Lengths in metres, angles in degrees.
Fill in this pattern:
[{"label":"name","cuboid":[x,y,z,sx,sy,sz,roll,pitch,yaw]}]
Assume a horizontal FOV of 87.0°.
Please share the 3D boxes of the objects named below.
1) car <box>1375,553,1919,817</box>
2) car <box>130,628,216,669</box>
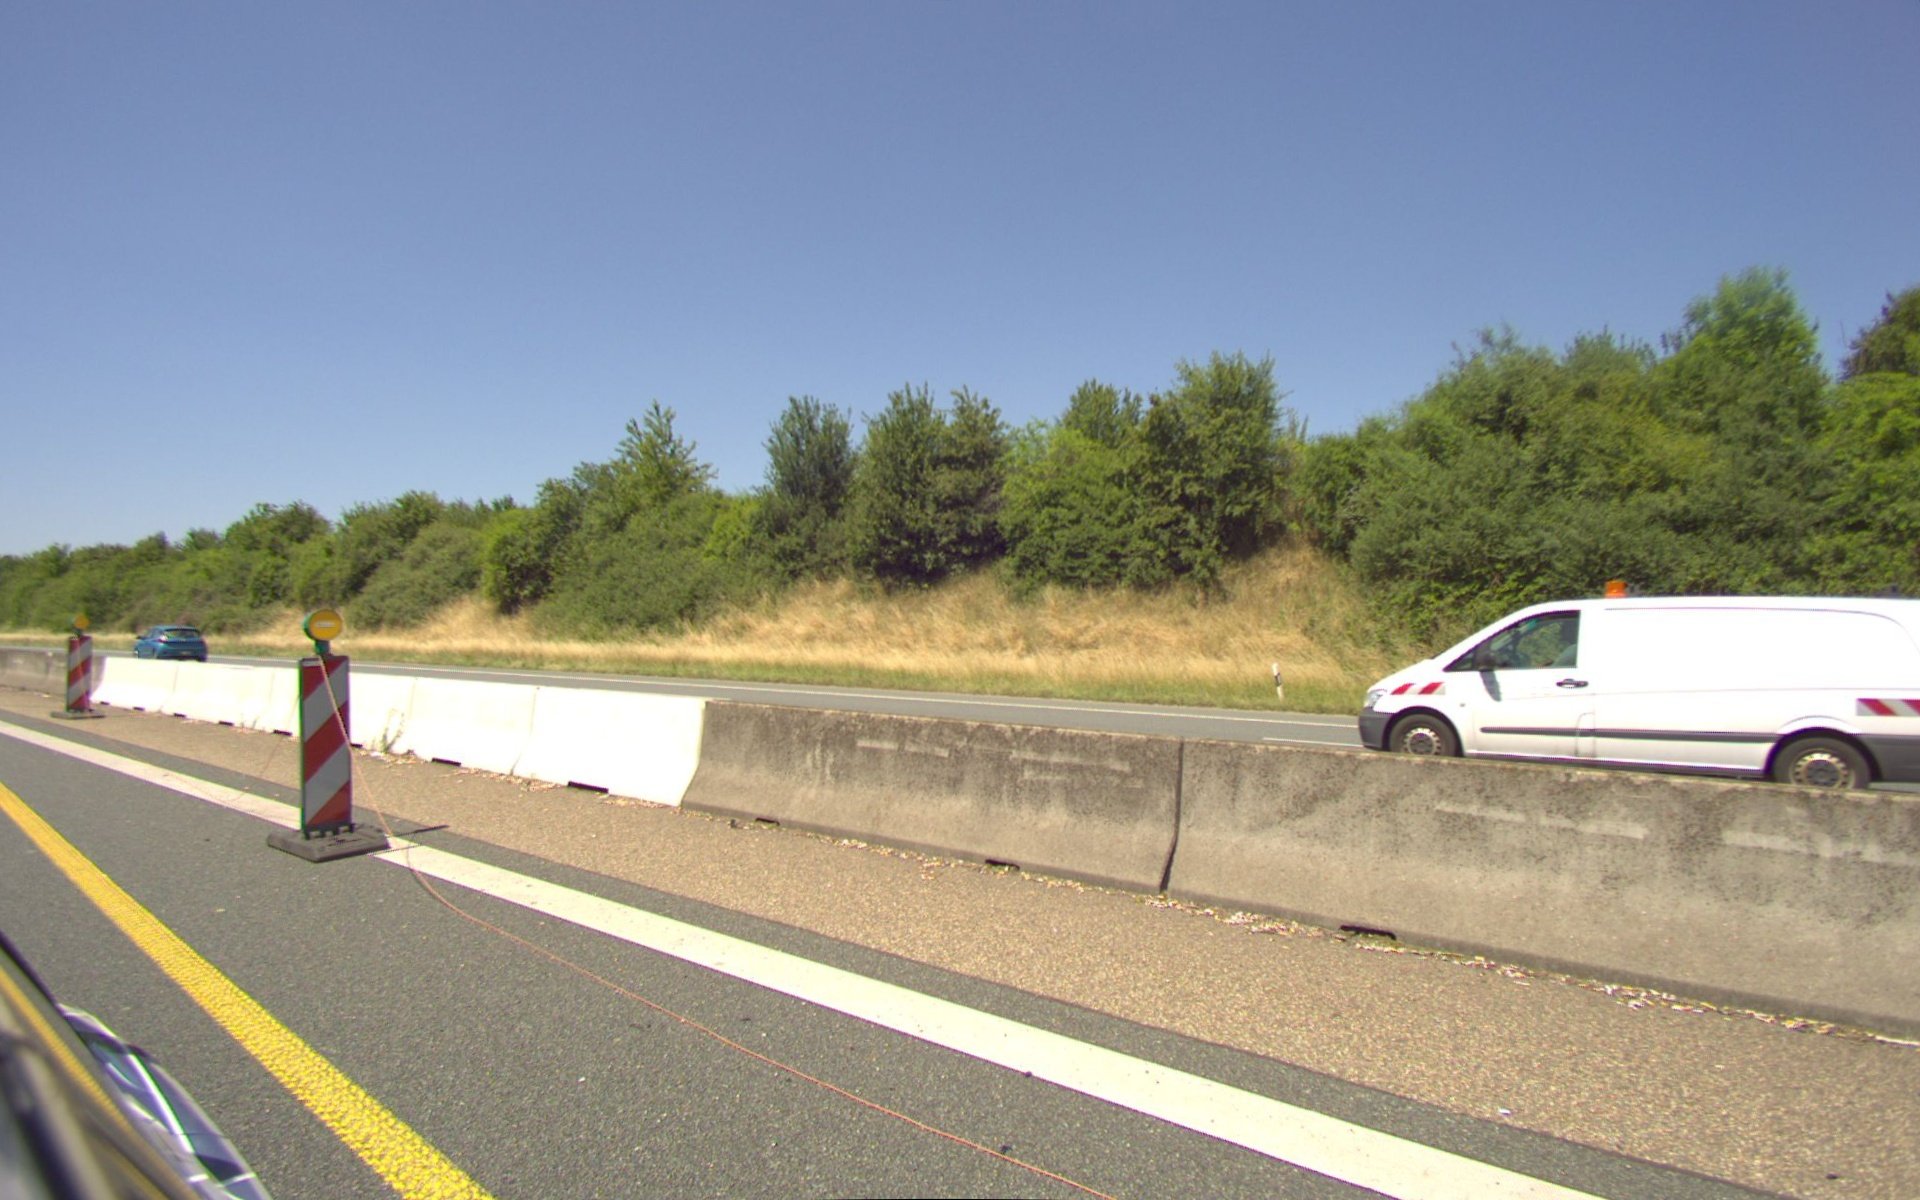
[{"label":"car","cuboid":[6.903,0.730,9.902,4.931,2.101,1.944,-1,-2,38]},{"label":"car","cuboid":[-31.416,1.911,40.395,3.474,1.529,1.872,-1,-2,37]}]
